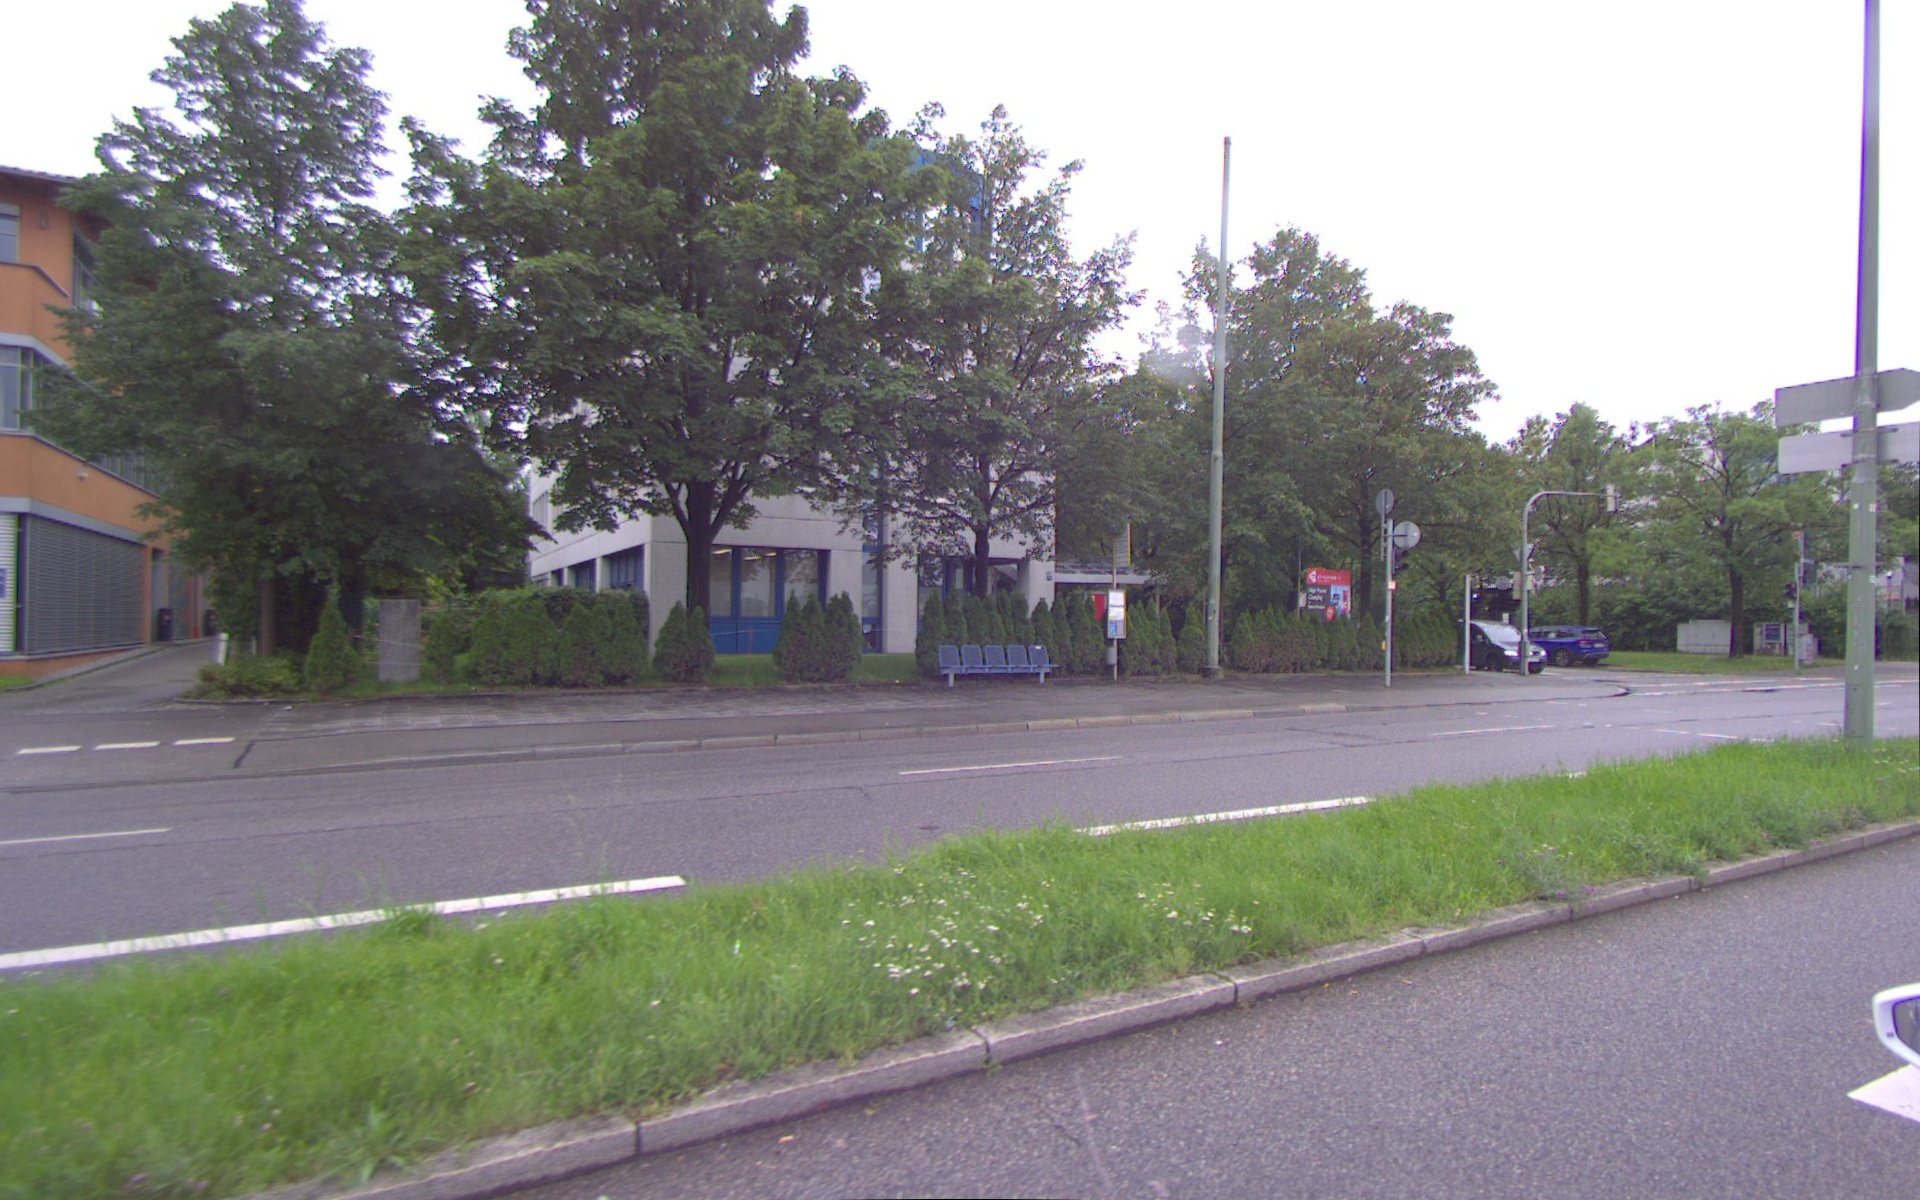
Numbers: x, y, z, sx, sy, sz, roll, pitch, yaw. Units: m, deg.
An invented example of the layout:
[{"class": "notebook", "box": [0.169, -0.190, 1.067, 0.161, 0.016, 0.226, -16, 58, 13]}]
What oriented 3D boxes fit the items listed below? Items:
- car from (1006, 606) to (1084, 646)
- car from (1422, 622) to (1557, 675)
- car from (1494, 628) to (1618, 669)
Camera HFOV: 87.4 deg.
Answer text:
[{"class": "car", "box": [3.222, 0.974, 38.937, 1.837, 1.437, 4.166, 1, 0, -12]}, {"class": "car", "box": [19.044, 1.714, 36.398, 1.963, 1.745, 4.787, 1, -2, -6]}, {"class": "car", "box": [25.276, 2.012, 42.789, 1.970, 1.595, 4.263, -1, -1, -20]}]
